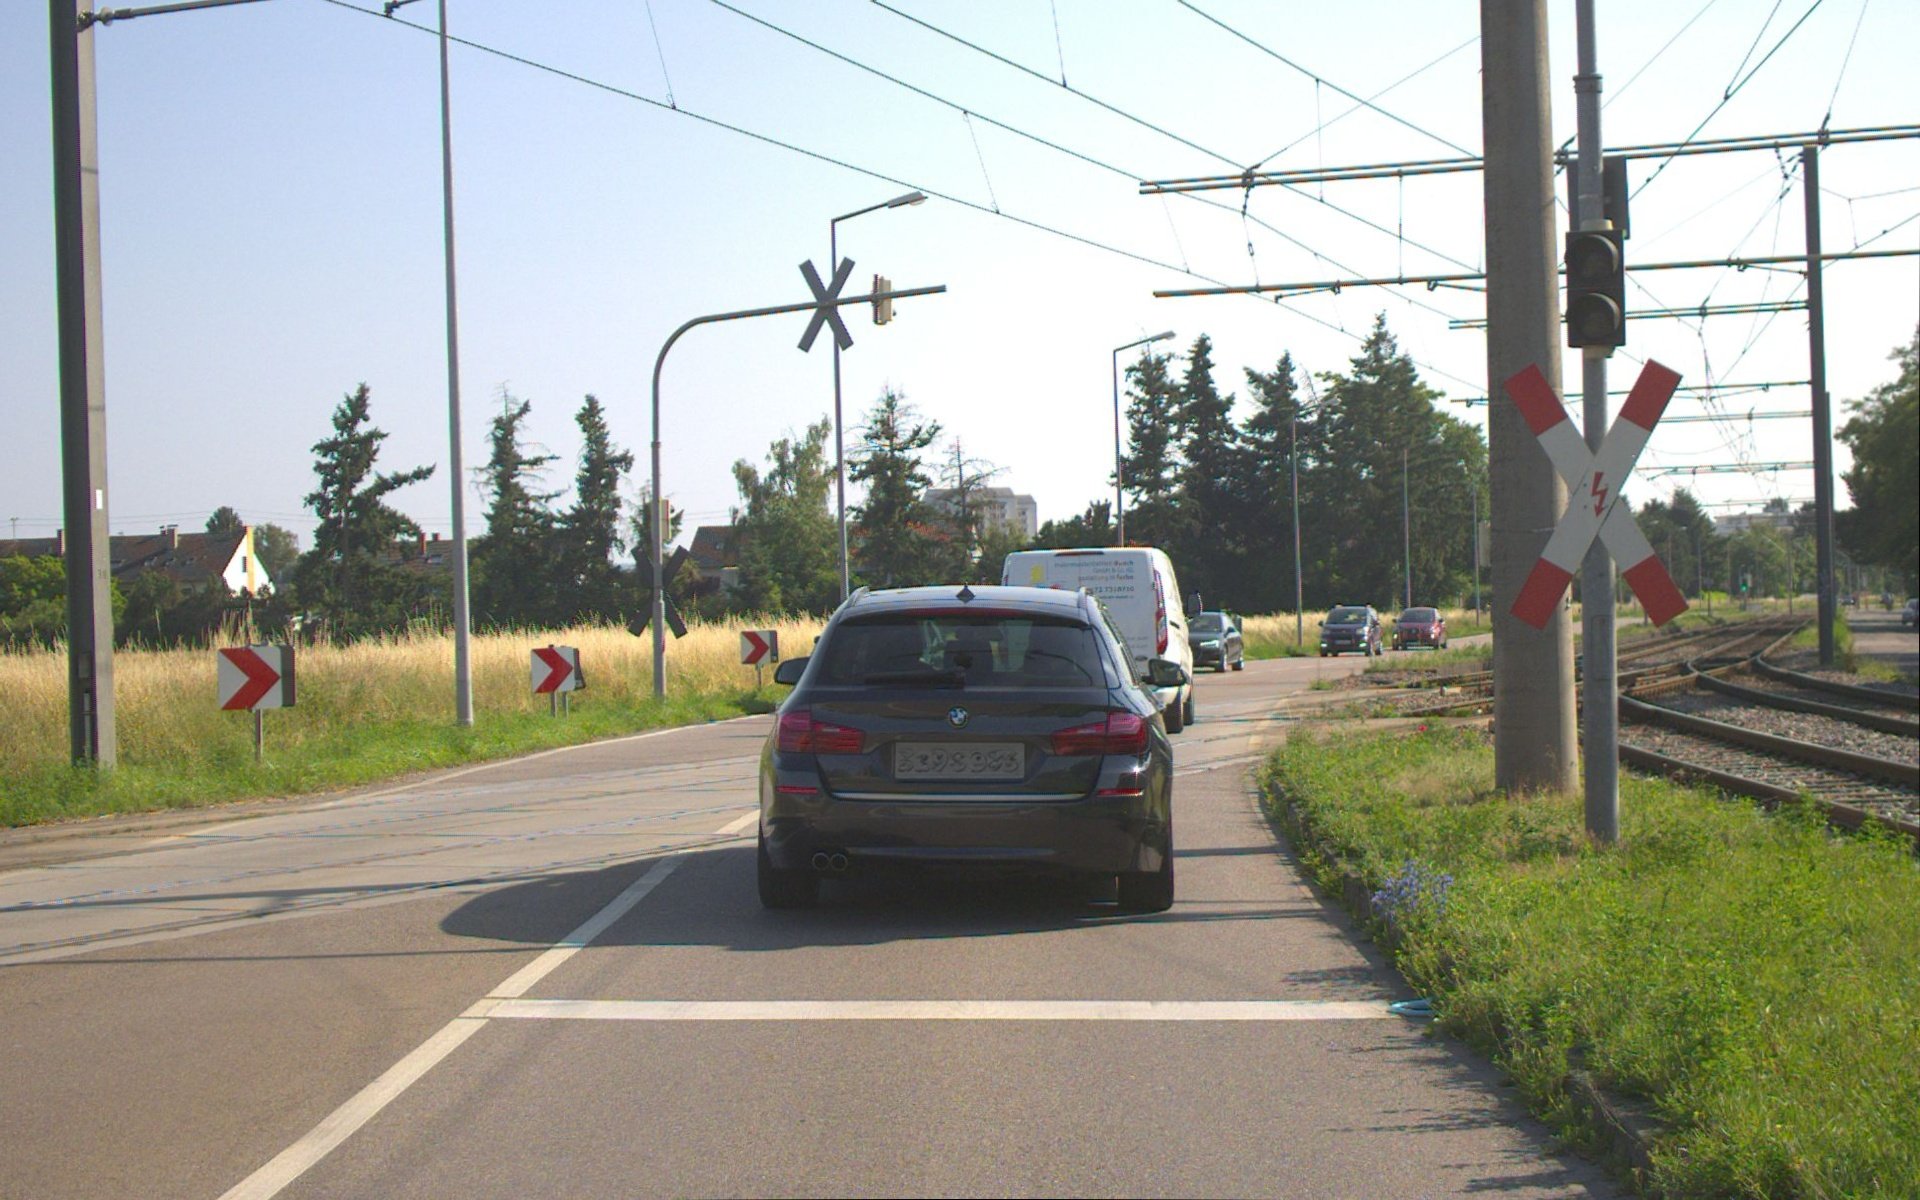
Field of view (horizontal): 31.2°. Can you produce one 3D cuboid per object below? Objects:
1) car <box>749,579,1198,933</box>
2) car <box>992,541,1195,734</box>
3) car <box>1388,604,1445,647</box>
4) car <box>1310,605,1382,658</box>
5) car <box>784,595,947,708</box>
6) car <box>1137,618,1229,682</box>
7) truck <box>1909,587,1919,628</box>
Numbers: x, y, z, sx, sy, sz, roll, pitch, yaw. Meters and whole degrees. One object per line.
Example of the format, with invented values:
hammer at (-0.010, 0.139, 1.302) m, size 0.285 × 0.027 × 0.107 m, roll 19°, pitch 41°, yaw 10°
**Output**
car at (0.033, 0.638, 16.770) m, size 1.869 × 1.447 × 4.744 m, roll 0°, pitch 1°, yaw -1°
car at (1.552, 0.382, 38.024) m, size 1.858 × 1.981 × 5.107 m, roll 0°, pitch 0°, yaw 6°
car at (16.969, 0.932, 127.702) m, size 1.713 × 1.544 × 3.926 m, roll -1°, pitch 0°, yaw 13°
car at (12.808, 1.030, 113.852) m, size 1.707 × 1.659 × 4.586 m, roll -1°, pitch 0°, yaw 15°
car at (-1.296, 0.704, 48.628) m, size 1.624 × 1.489 × 3.999 m, roll -2°, pitch -1°, yaw 8°
car at (5.373, 1.177, 82.374) m, size 1.694 × 1.435 × 4.281 m, roll 0°, pitch 0°, yaw 11°
truck at (44.006, 0.342, 154.922) m, size 2.206 × 1.813 × 5.925 m, roll -1°, pitch 0°, yaw 14°
